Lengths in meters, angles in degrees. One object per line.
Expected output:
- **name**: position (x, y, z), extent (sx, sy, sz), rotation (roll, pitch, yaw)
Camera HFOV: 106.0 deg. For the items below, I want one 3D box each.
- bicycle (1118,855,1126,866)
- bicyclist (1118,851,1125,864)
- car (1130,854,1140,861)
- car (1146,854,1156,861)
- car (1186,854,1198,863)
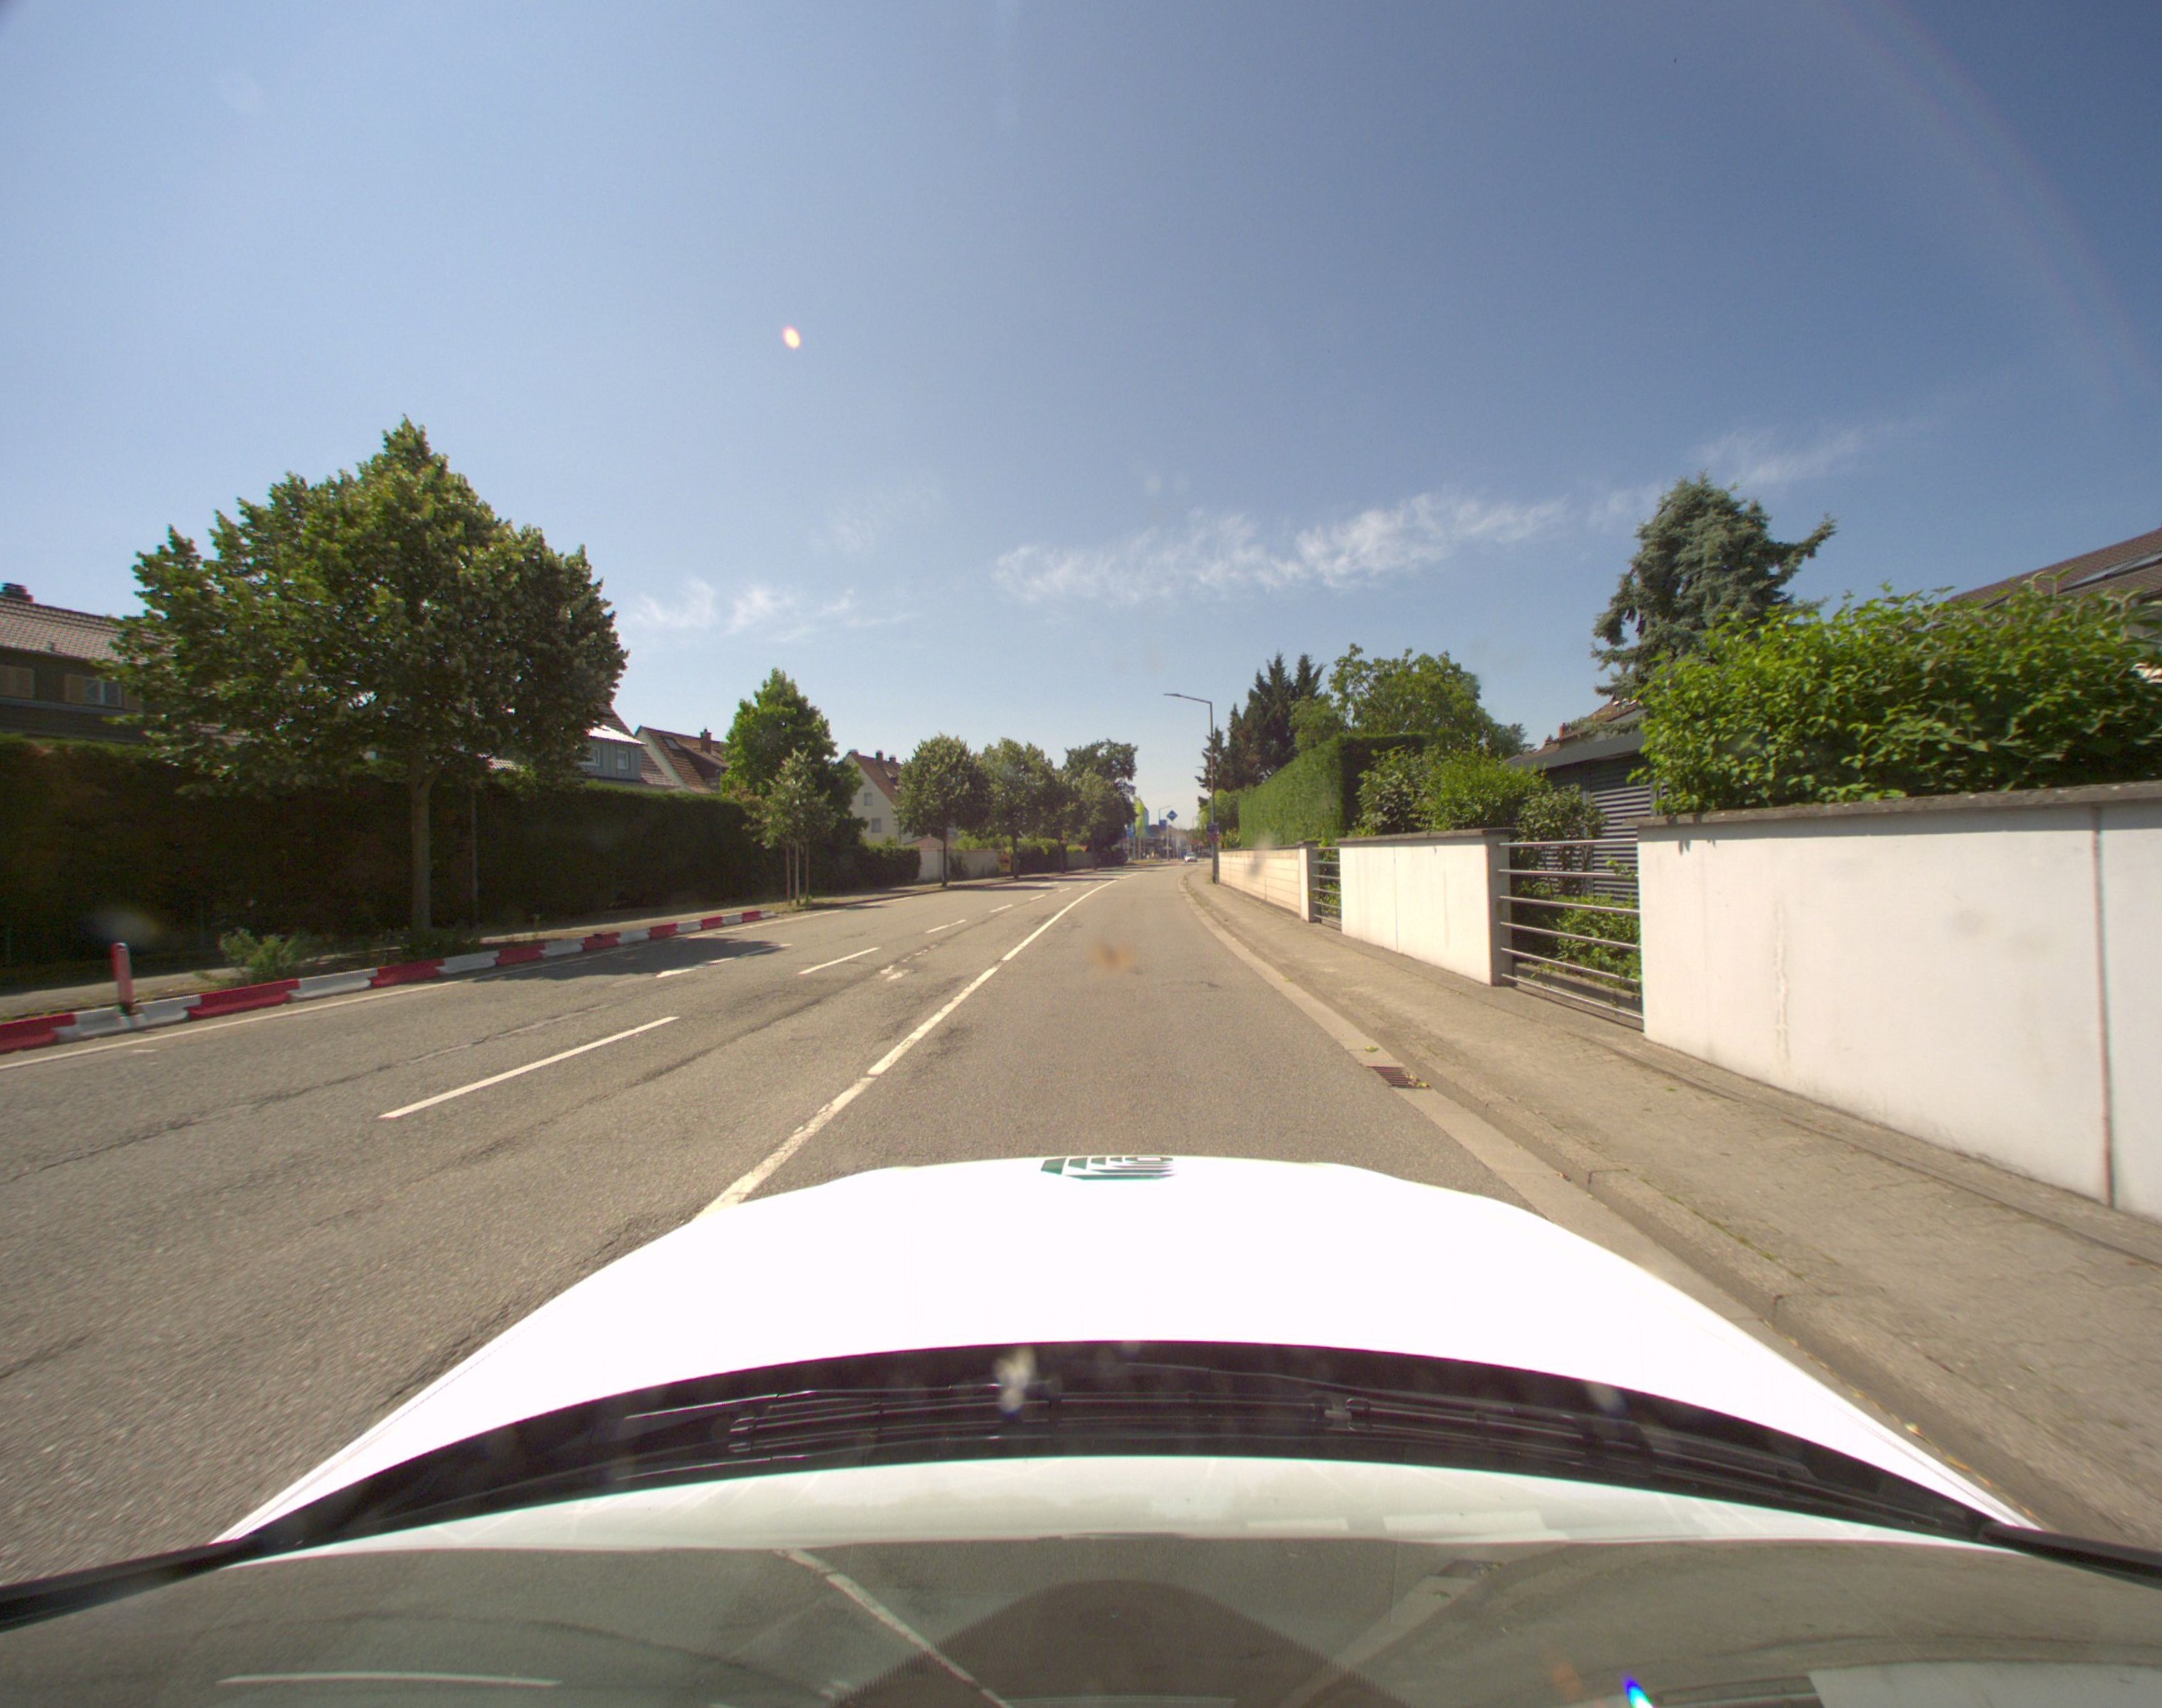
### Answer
- **bicycle**: position (4.497, 0.727, 89.769), extent (0.628, 1.180, 1.821), rotation (-2, 0, 11)
- **bicyclist**: position (4.470, 0.374, 89.703), extent (0.624, 1.408, 0.679), rotation (-2, 0, 11)
- **car**: position (11.873, 0.823, 179.236), extent (1.606, 1.420, 3.723), rotation (-3, 0, 11)
- **car**: position (15.382, 0.695, 178.906), extent (1.606, 1.420, 3.723), rotation (-3, 0, 11)
- **car**: position (17.352, 0.679, 127.213), extent (1.601, 1.482, 3.719), rotation (-1, 0, 12)
